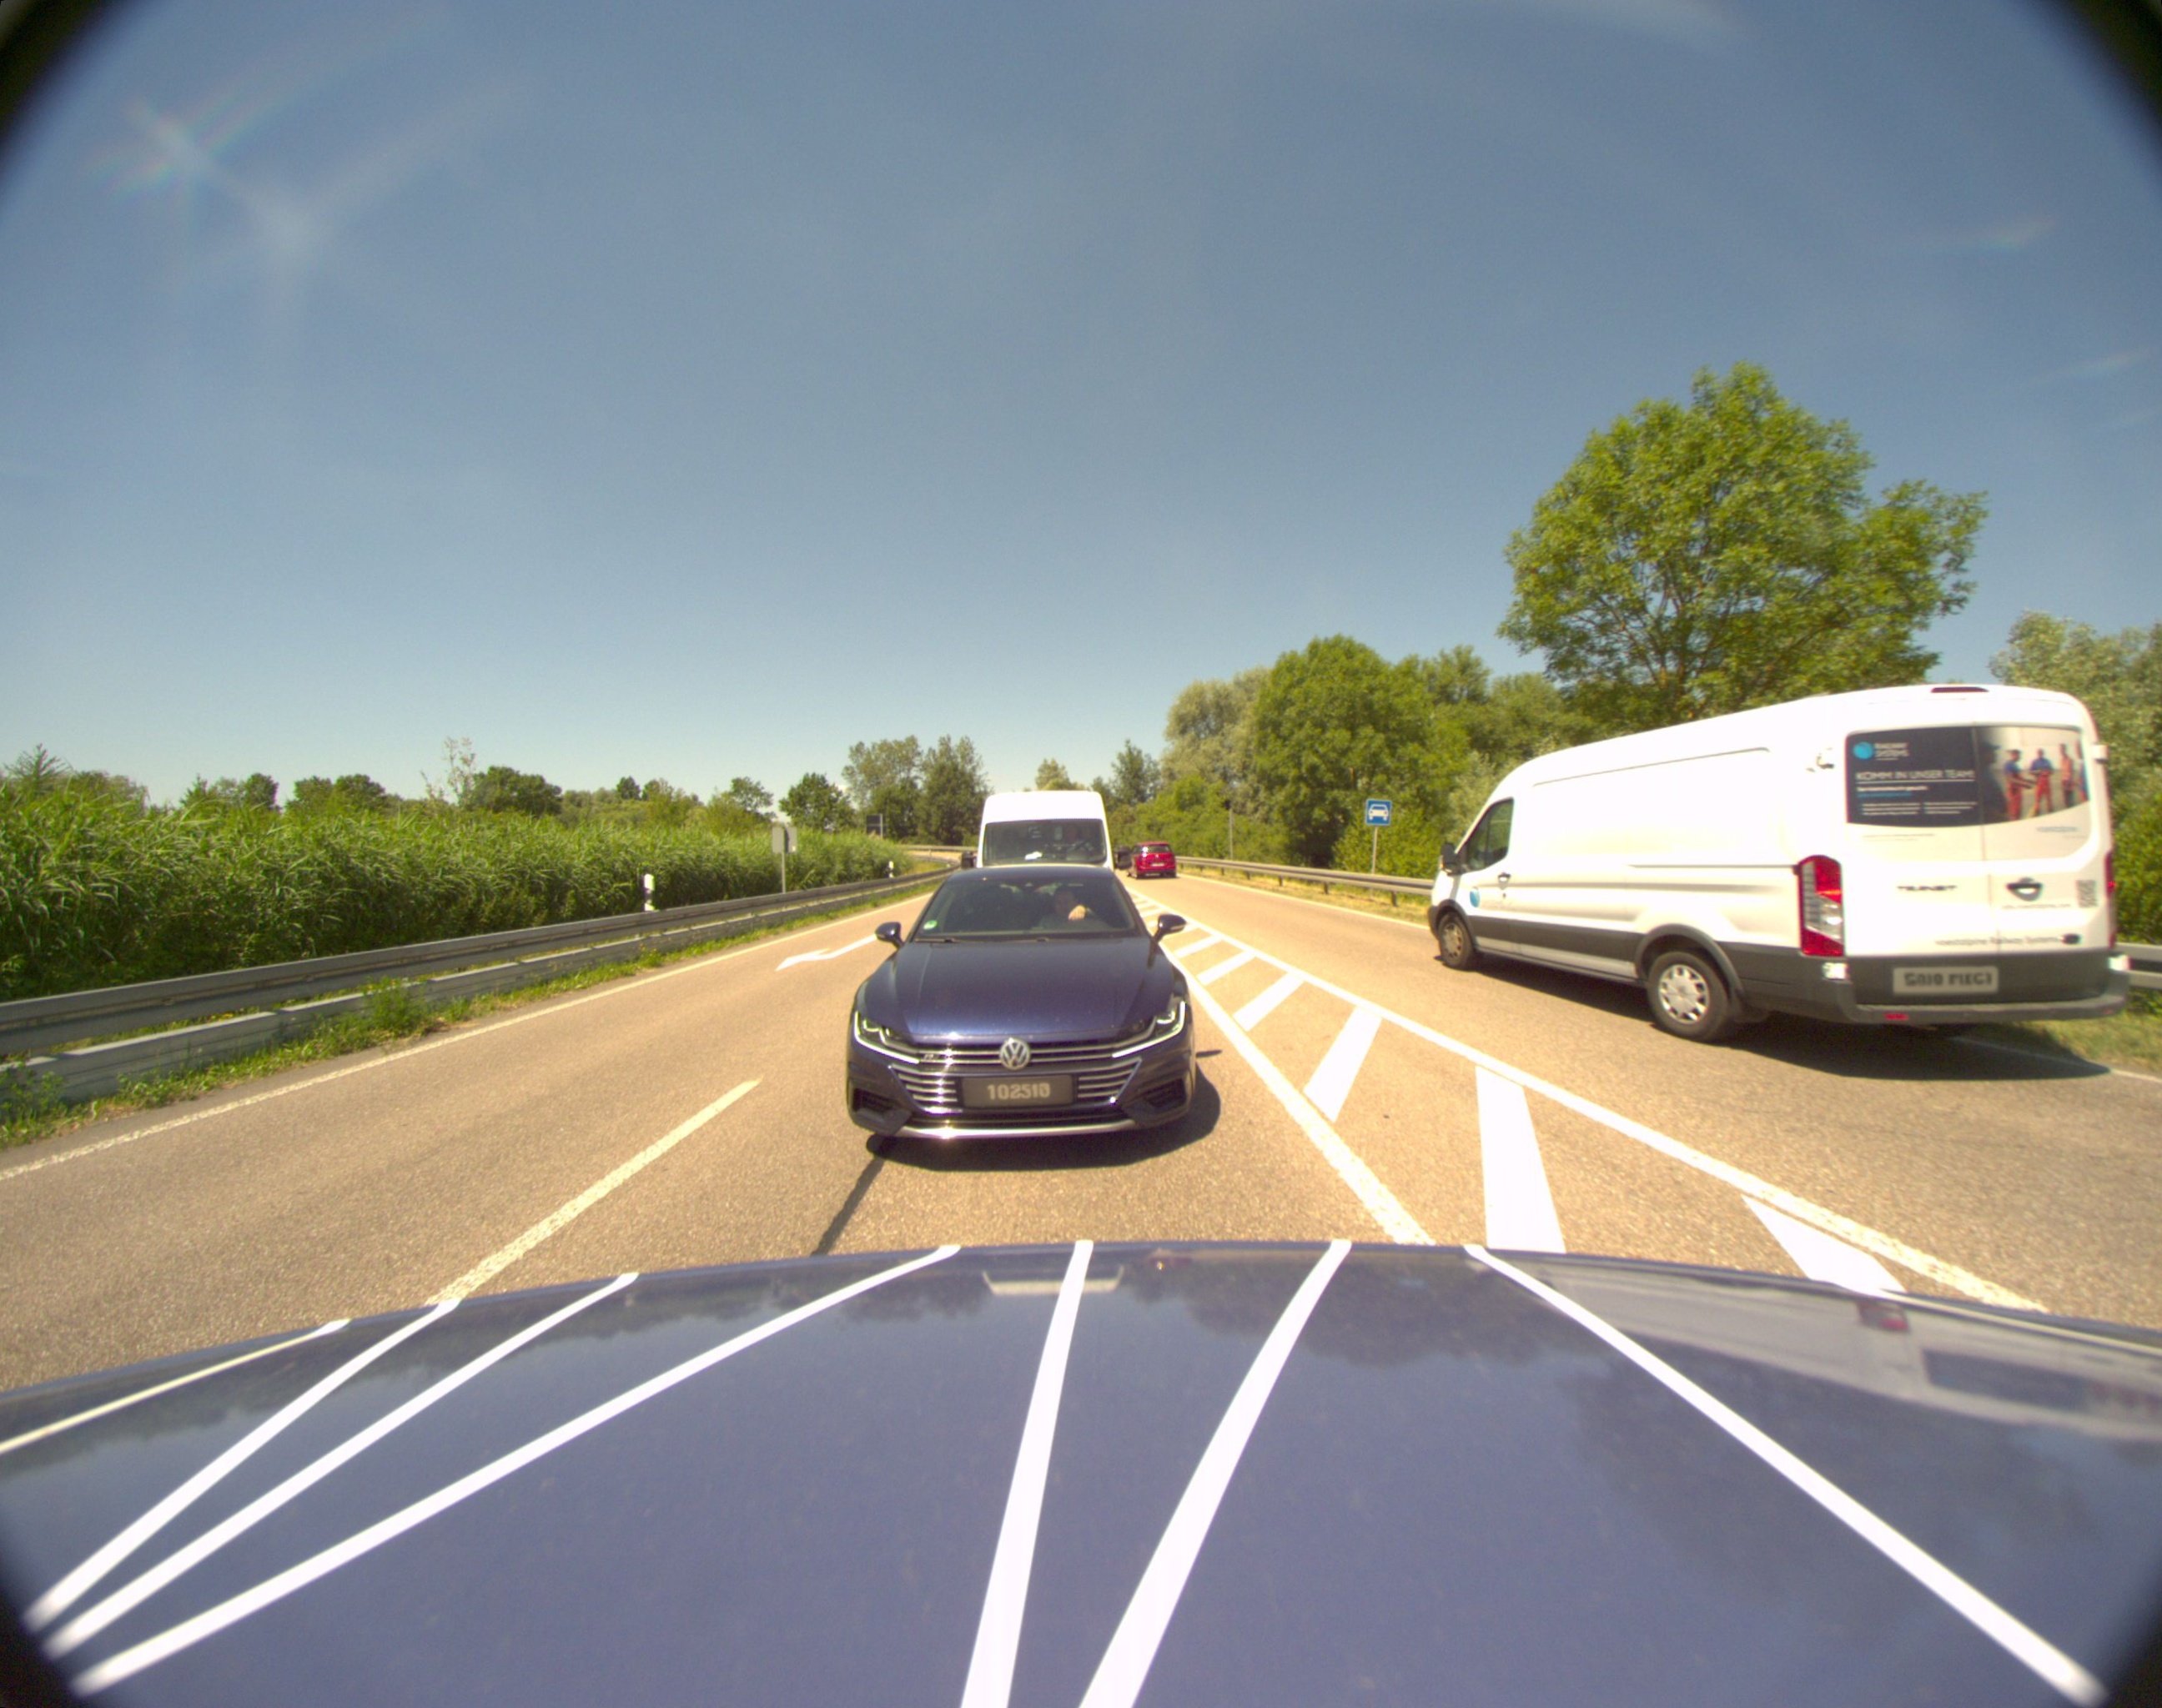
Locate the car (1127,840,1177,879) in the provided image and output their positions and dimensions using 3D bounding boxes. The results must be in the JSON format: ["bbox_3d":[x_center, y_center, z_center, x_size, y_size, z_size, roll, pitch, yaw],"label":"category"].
[{"bbox_3d":[3.172,0.221,34.662,1.741,1.676,4.207,0,1,-2],"label":"car"}]

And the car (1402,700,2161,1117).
[{"bbox_3d":[5.335,0.277,7.217,1.999,2.402,5.587,-1,1,-3],"label":"car"}]

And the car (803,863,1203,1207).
[{"bbox_3d":[-0.336,0.874,5.739,1.819,1.454,4.415,-2,1,1],"label":"car"}]

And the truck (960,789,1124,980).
[{"bbox_3d":[-0.669,0.349,12.542,2.011,2.365,5.909,-2,1,-4],"label":"truck"}]
